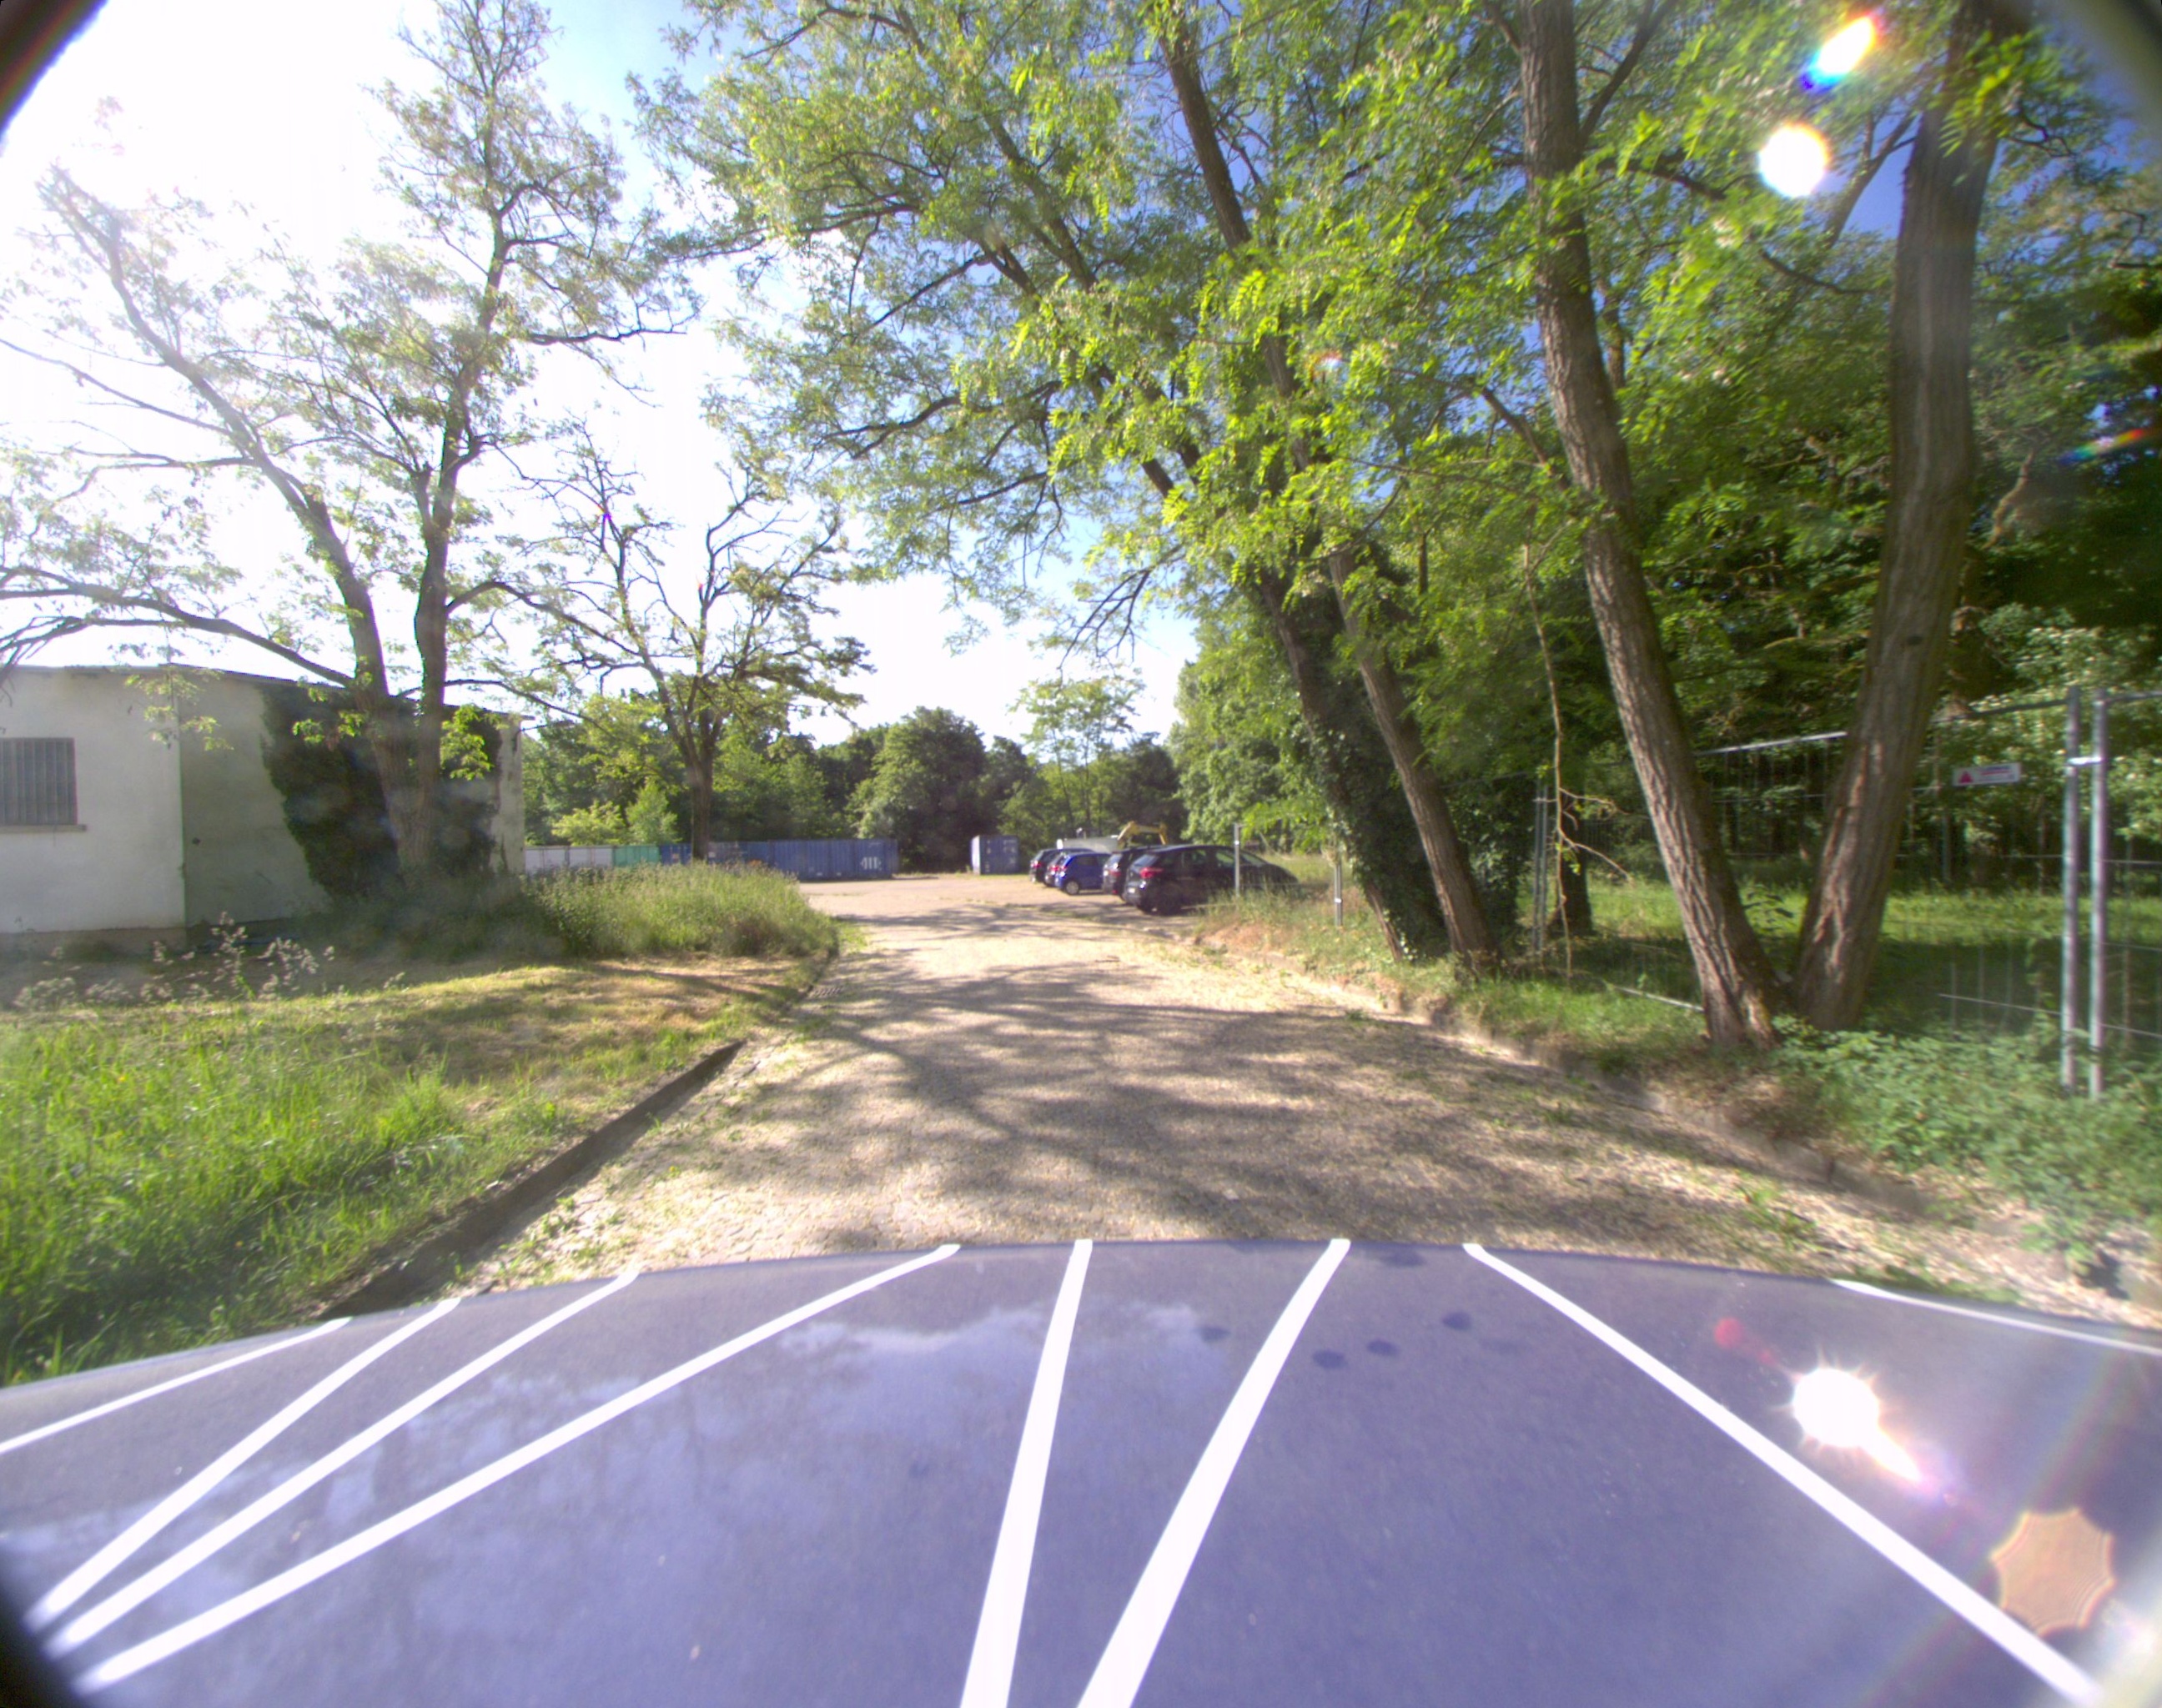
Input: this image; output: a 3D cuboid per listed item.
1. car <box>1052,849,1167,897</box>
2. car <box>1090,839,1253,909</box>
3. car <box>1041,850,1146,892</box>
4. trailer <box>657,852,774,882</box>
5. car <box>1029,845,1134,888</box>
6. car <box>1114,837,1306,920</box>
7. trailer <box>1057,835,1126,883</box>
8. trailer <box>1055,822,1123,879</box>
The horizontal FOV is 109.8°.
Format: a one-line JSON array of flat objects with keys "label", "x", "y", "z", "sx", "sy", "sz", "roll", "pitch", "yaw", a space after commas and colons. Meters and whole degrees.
[{"label": "car", "x": 0.986, "y": 0.637, "z": 27.348, "sx": 3.790, "sy": 1.450, "sz": 1.784, "roll": -3, "pitch": 2, "yaw": -9}, {"label": "car", "x": 2.604, "y": 0.526, "z": 22.218, "sx": 4.274, "sy": 1.622, "sz": 1.878, "roll": -4, "pitch": 2, "yaw": -14}, {"label": "car", "x": 0.466, "y": 0.629, "z": 29.934, "sx": 3.790, "sy": 1.403, "sz": 1.893, "roll": -3, "pitch": 2, "yaw": -10}, {"label": "trailer", "x": -18.677, "y": 0.637, "z": 39.077, "sx": 4.862, "sy": 1.406, "sz": 2.646, "roll": -1, "pitch": 1, "yaw": -10}, {"label": "car", "x": -0.026, "y": 0.493, "z": 32.256, "sx": 4.131, "sy": 1.581, "sz": 1.968, "roll": -3, "pitch": 2, "yaw": -10}, {"label": "car", "x": 3.184, "y": 0.571, "z": 18.985, "sx": 4.274, "sy": 1.580, "sz": 1.827, "roll": -5, "pitch": 1, "yaw": -15}, {"label": "trailer", "x": 0.458, "y": 0.208, "z": 35.307, "sx": 2.850, "sy": 2.039, "sz": 1.822, "roll": -3, "pitch": 2, "yaw": -9}, {"label": "trailer", "x": 0.343, "y": -0.205, "z": 37.565, "sx": 2.850, "sy": 2.525, "sz": 2.263, "roll": -5, "pitch": 2, "yaw": -9}]
